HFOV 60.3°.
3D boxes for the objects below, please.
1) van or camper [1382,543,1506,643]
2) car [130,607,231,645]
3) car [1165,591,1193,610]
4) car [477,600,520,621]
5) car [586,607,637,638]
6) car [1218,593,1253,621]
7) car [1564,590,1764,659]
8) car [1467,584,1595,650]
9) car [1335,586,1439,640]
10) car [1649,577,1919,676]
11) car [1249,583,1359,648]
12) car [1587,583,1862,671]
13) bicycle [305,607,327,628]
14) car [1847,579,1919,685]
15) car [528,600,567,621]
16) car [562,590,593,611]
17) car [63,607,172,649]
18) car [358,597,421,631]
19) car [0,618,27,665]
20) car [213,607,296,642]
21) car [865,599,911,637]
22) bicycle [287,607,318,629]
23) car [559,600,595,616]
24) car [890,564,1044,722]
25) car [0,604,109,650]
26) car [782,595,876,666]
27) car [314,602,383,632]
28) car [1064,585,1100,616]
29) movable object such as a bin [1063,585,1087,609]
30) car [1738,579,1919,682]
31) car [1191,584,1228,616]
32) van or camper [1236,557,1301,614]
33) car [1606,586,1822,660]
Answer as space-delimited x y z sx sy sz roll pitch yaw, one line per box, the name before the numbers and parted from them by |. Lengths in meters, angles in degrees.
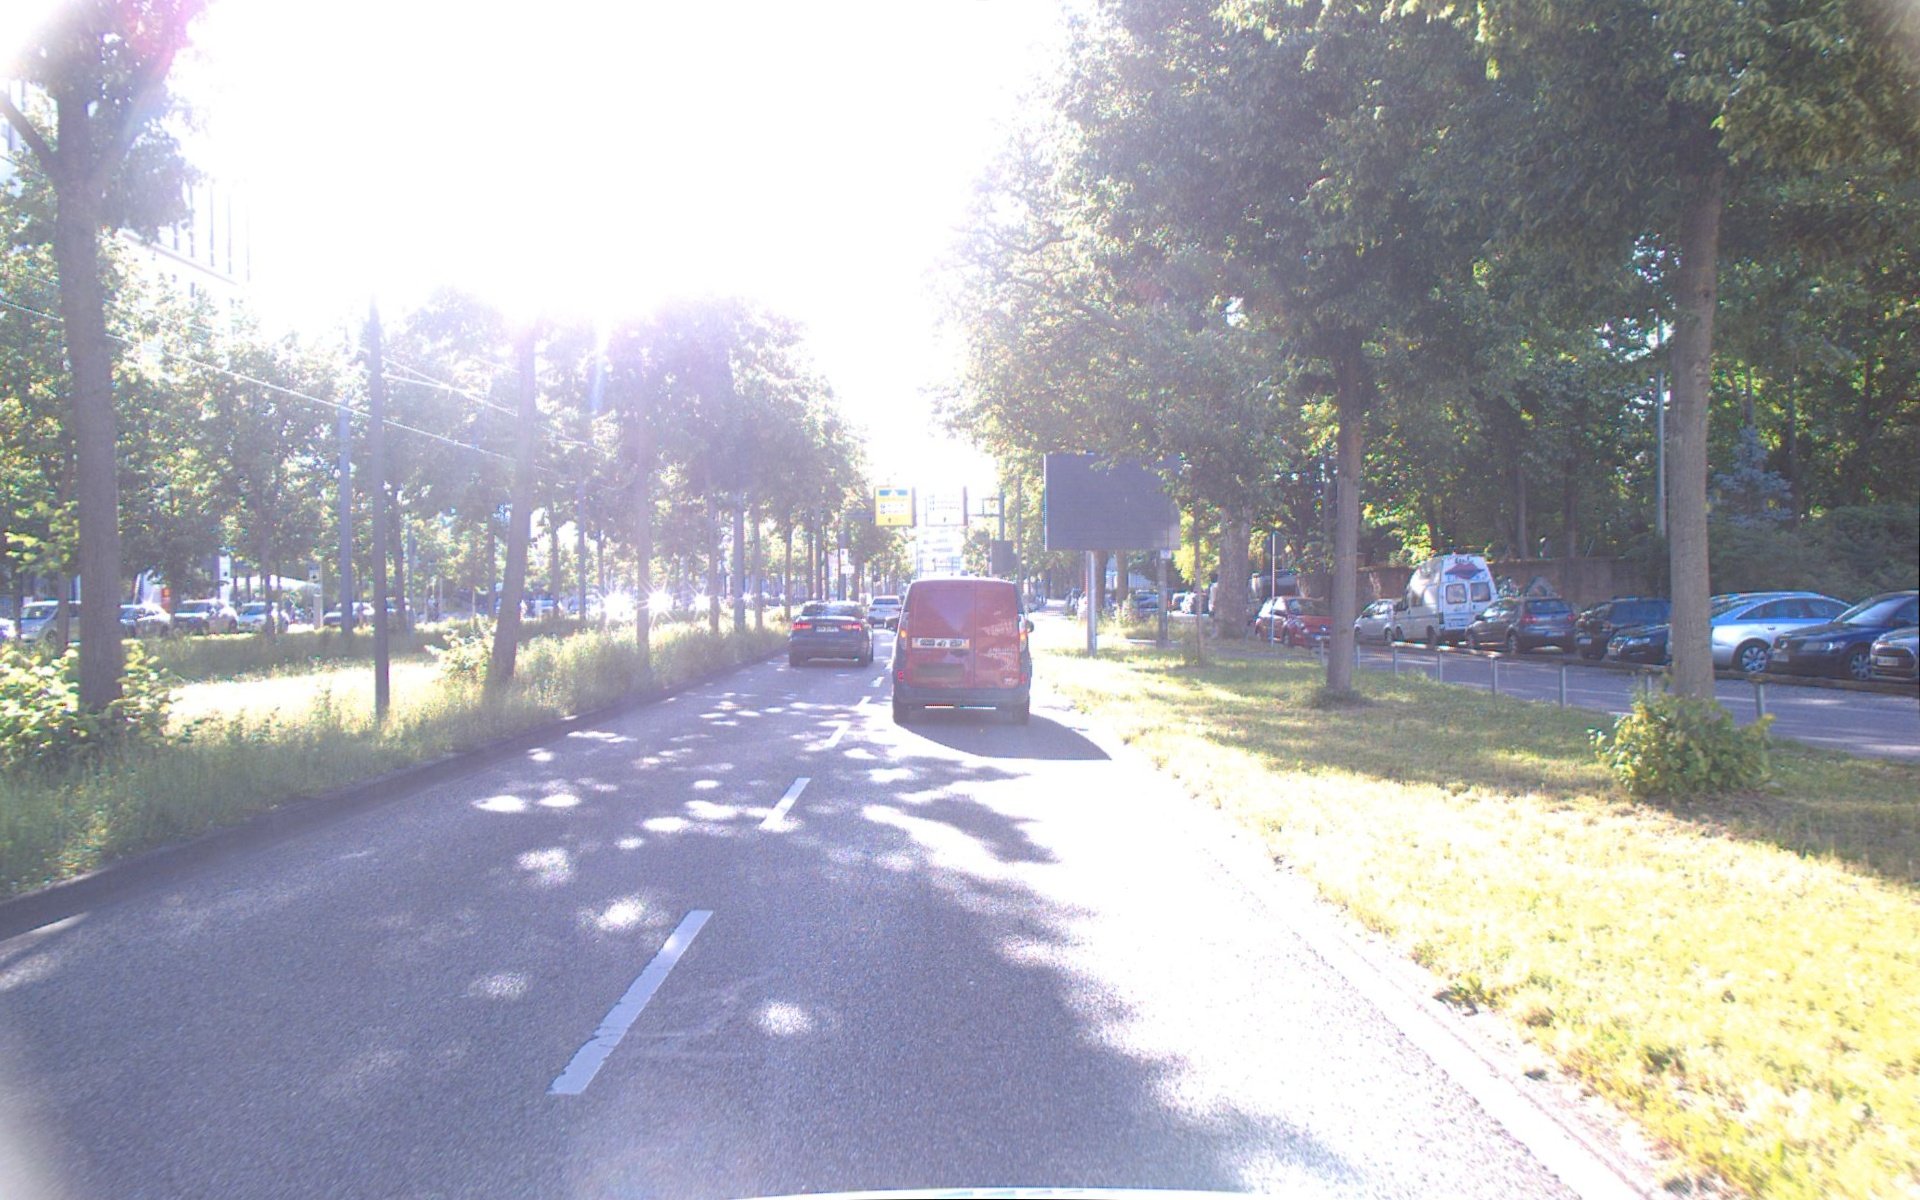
van or camper | 14.660 -0.192 50.392 1.954 2.778 4.961 -3 0 -3
car | -31.769 1.039 67.544 1.954 1.466 4.934 1 0 -3
car | 19.647 0.054 148.592 1.952 1.668 4.000 1 0 1
car | -32.488 0.713 116.531 1.841 1.460 4.609 -1 0 -2
car | -20.593 1.306 97.926 1.953 1.715 5.109 1 0 -1
car | 15.857 0.386 95.224 1.654 1.498 3.760 -3 0 5
car | 16.221 0.541 38.211 3.910 1.531 1.763 0 0 -7
car | 15.244 0.433 44.381 1.953 1.601 3.999 -3 0 -1
car | 14.389 0.423 55.954 1.807 1.646 3.989 -4 1 -11
car | 15.421 0.476 30.805 4.290 1.435 2.001 -5 0 2
car | 9.406 0.427 45.523 1.954 1.668 3.997 1 0 -4
car | 15.510 0.531 33.719 4.624 1.430 2.000 -4 0 0
bicycle | -38.703 1.048 99.457 0.576 1.274 1.839 1 0 -1
car | 15.787 0.410 24.723 4.108 1.524 1.781 -1 0 -4
car | -32.608 0.842 130.882 1.840 1.649 4.611 1 0 1
car | -38.654 0.050 167.374 1.952 2.049 4.563 1 0 0
car | -31.383 1.012 61.746 1.954 1.466 4.453 1 0 -3
car | -31.601 0.773 91.741 1.954 1.803 4.774 1 0 -3
car | -31.247 1.289 51.369 1.954 1.466 4.776 1 0 -3
car | -31.644 1.081 74.304 1.954 1.466 4.453 1 0 -3
car | -3.308 0.824 76.411 1.953 1.646 3.999 1 0 0
bicycle | -38.706 1.055 97.406 0.576 1.274 1.840 1 -1 21
car | -32.376 0.666 139.843 1.873 1.348 4.611 1 0 1
car | 0.002 0.529 21.810 1.773 1.870 3.997 1 0 -3
car | -31.148 0.892 56.394 1.953 1.466 4.455 1 0 -1
car | -2.851 0.656 36.751 1.755 1.453 3.999 1 0 0
car | -31.386 0.851 85.025 1.918 1.466 4.265 1 0 0
car | 8.562 0.061 116.555 2.145 2.049 5.820 1 0 1
movable object such as a bin | 10.109 -0.282 145.463 2.038 2.049 2.137 1 0 3
car | 15.721 0.456 27.957 4.243 1.503 1.905 -3 1 -4
car | 16.403 -0.009 108.996 2.043 2.049 4.945 0 0 4
van or camper | 15.919 -0.761 85.678 2.503 2.731 6.568 -3 0 4
car | 16.335 0.492 35.937 3.907 1.416 1.619 -2 0 -2
